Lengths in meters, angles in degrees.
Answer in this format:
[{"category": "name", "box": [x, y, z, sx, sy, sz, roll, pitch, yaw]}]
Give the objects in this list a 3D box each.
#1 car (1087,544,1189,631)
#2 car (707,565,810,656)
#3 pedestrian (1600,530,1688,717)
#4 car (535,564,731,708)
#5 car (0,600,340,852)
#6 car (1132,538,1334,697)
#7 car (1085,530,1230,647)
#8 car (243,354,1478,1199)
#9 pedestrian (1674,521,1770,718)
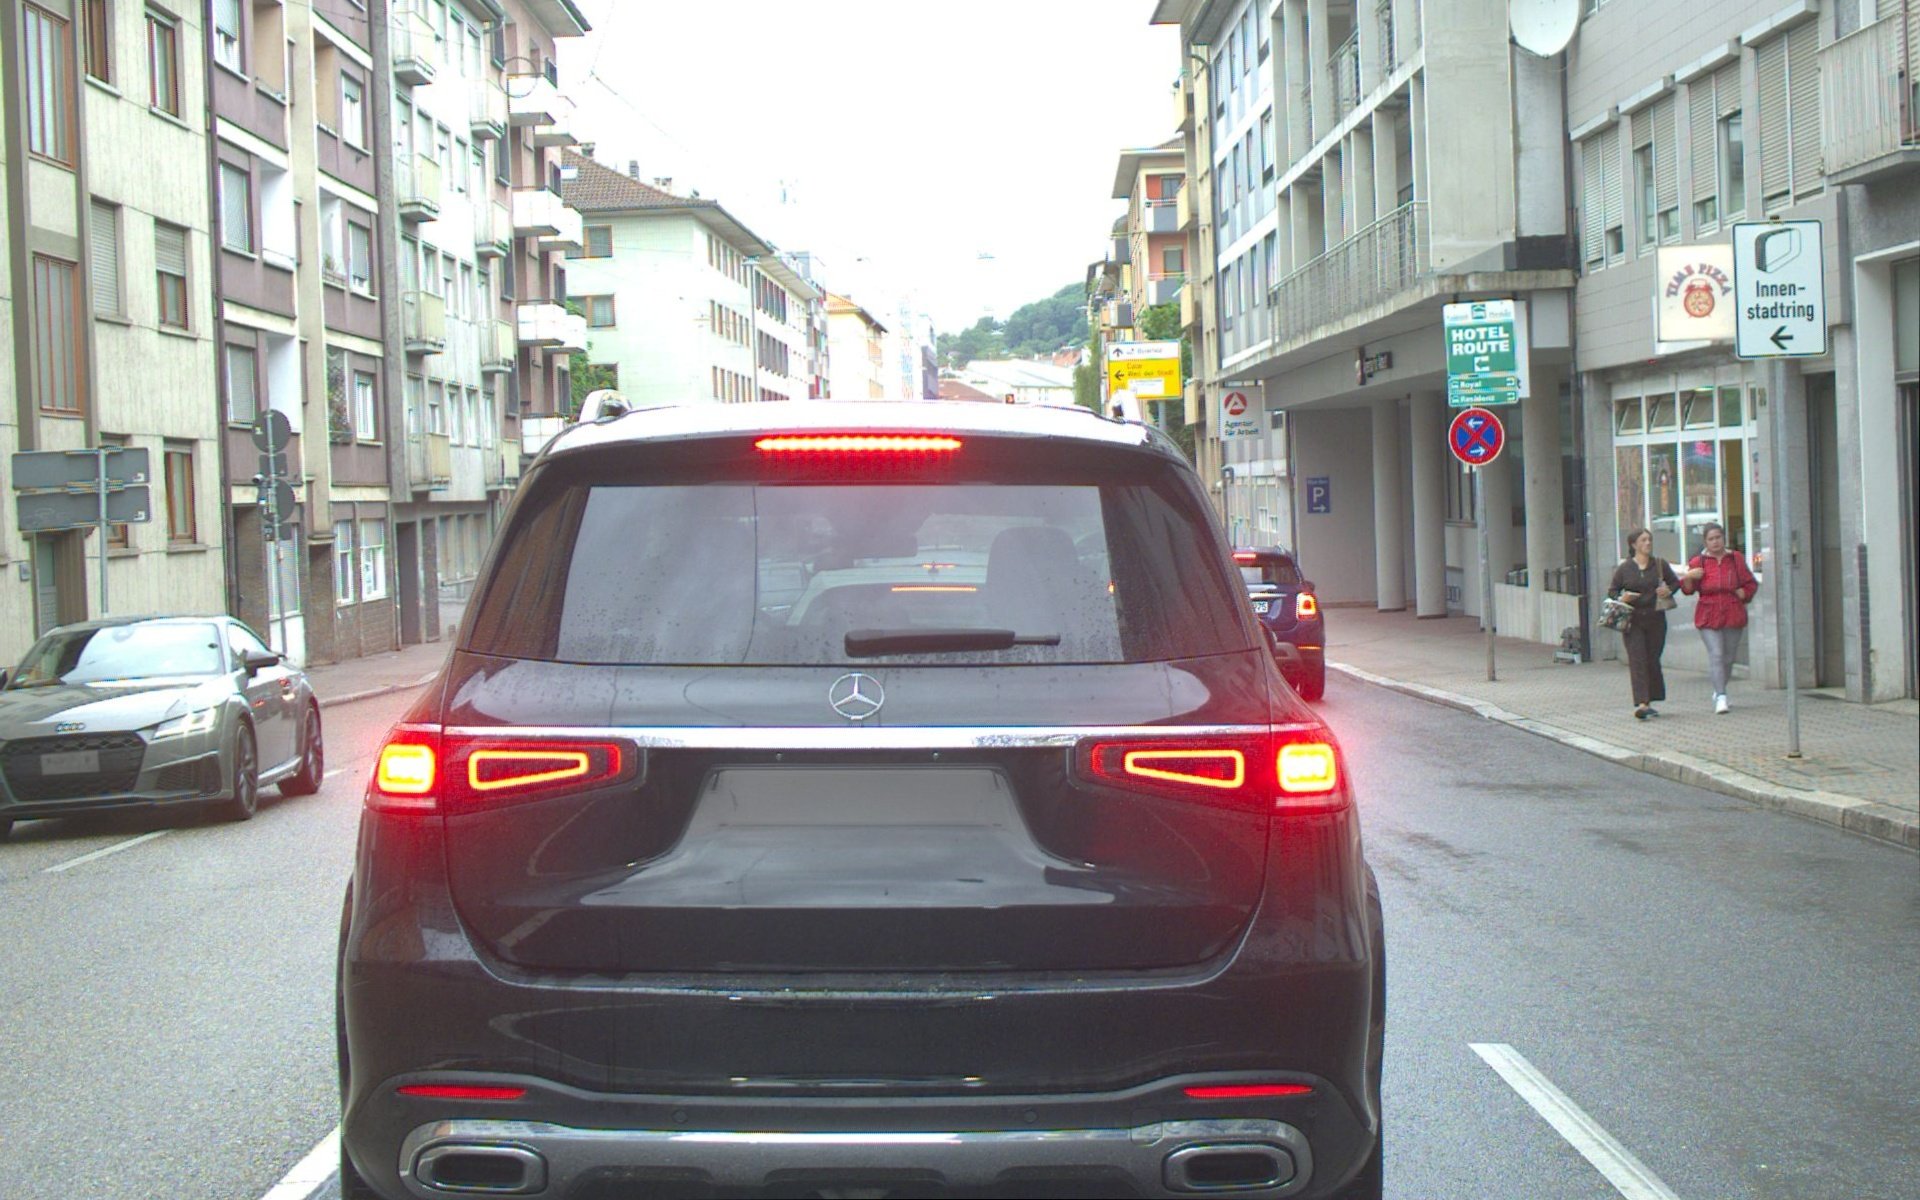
[{"category": "car", "box": [3.348, -0.257, 65.236, 1.808, 1.600, 4.212, 0, 1, 1]}, {"category": "car", "box": [-3.937, 0.183, 67.699, 1.732, 1.570, 4.012, -5, 1, -1]}, {"category": "pedestrian", "box": [5.660, 0.189, 28.453, 0.506, 1.495, 0.562, -4, 1, -1]}, {"category": "car", "box": [-3.541, 0.350, 37.934, 1.724, 1.385, 4.339, -3, 1, -1]}, {"category": "car", "box": [-5.372, 0.777, 22.733, 1.767, 1.341, 3.889, -5, 1, -1]}, {"category": "car", "box": [2.843, 0.146, 36.517, 1.767, 1.575, 4.000, -1, 1, -1]}, {"category": "car", "box": [3.074, -0.215, 54.286, 1.940, 1.769, 4.746, 0, 1, -1]}, {"category": "car", "box": [-0.207, 0.476, 7.700, 2.025, 1.799, 4.000, 1, 1, -1]}, {"category": "pedestrian", "box": [6.285, 0.154, 28.355, 0.560, 1.573, 0.526, -4, 1, -1]}]
